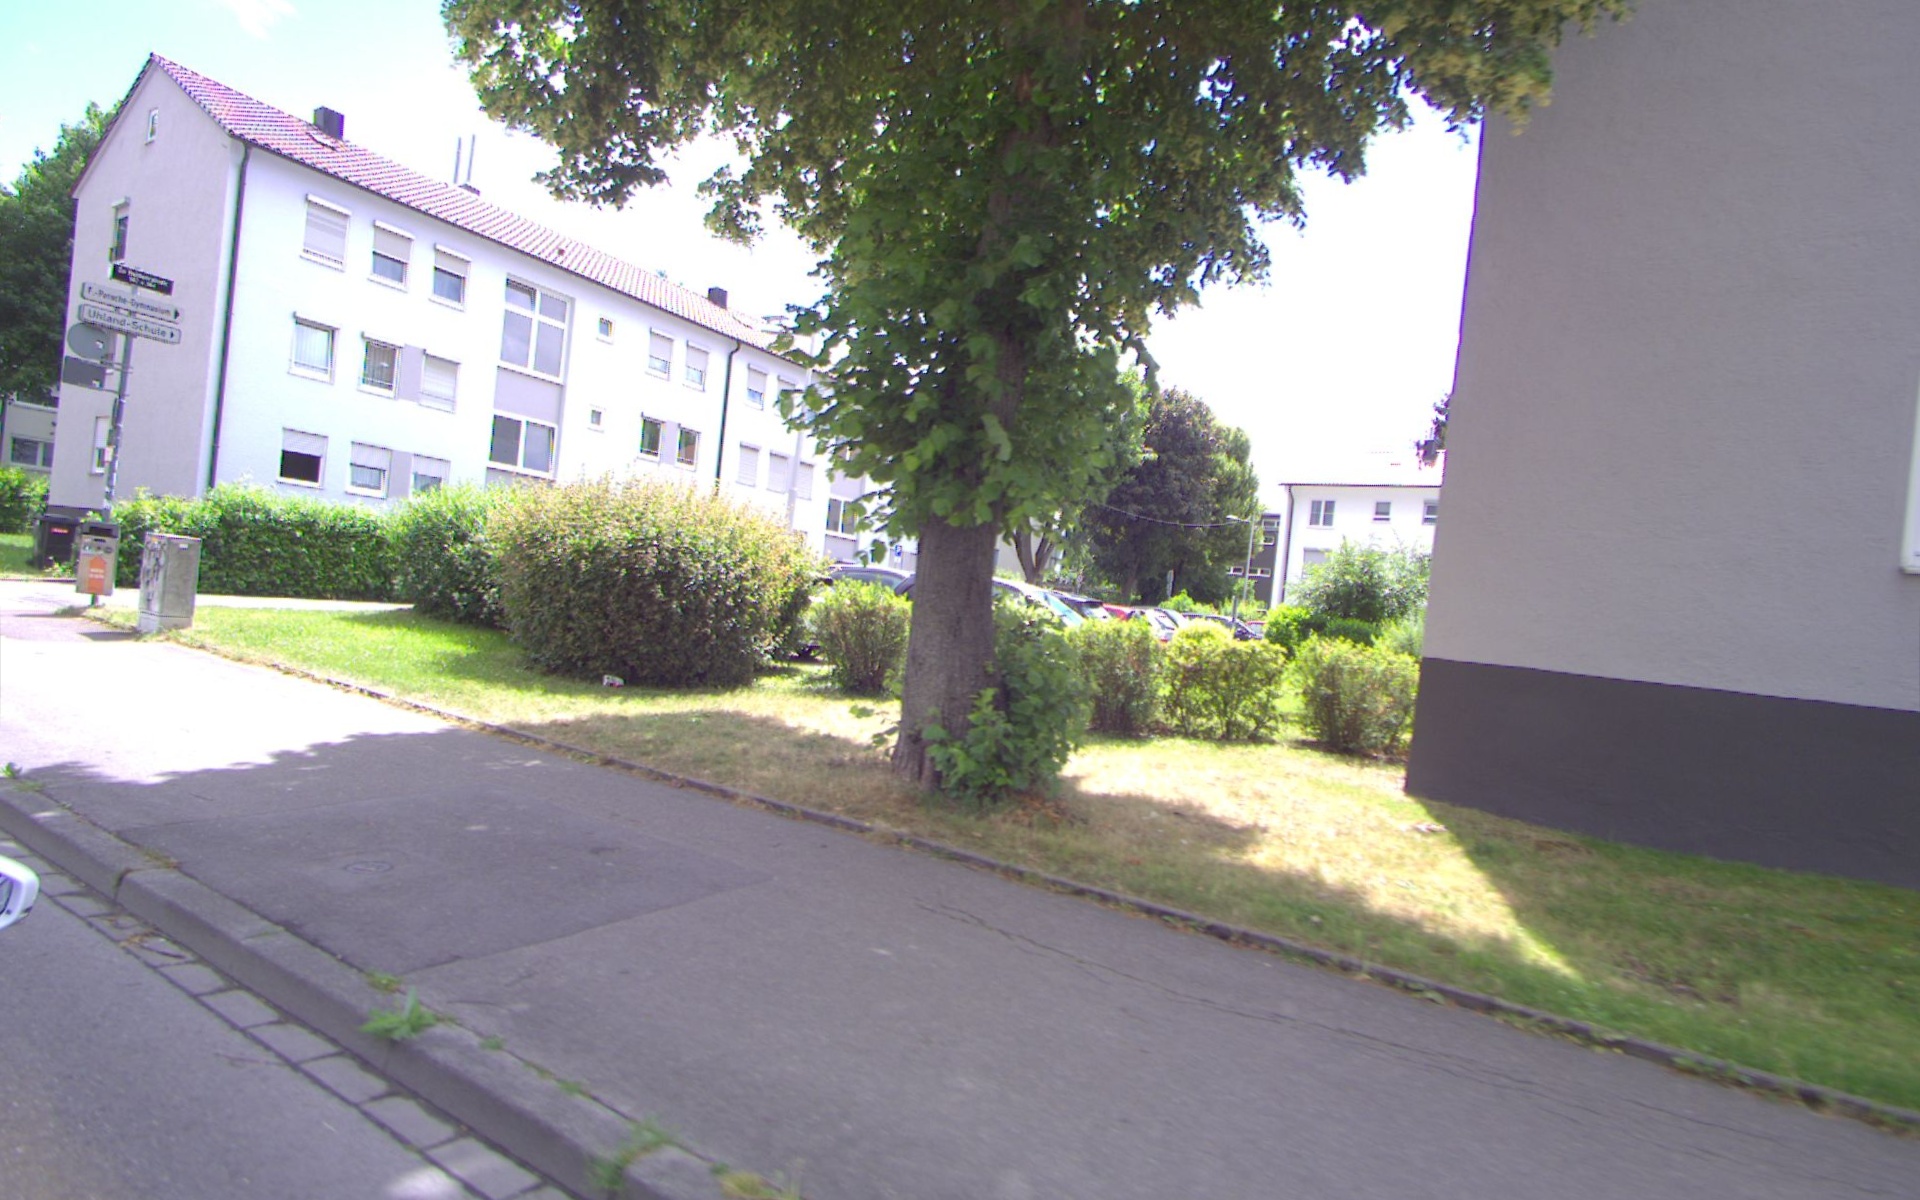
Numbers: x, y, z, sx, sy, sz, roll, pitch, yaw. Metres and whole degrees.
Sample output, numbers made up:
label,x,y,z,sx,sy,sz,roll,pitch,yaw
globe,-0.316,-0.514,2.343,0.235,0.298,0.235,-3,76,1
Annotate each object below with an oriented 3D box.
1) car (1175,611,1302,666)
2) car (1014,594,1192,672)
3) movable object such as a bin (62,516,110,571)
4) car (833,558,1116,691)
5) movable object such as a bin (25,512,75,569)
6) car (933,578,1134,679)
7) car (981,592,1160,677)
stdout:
label,x,y,z,sx,sy,sz,roll,pitch,yaw
car,10.060,1.368,36.406,4.012,1.502,1.624,6,1,32
car,3.603,0.819,25.627,4.012,1.502,1.766,6,1,32
movable object such as a bin,-16.585,-1.075,19.085,0.542,0.959,0.500,7,1,32
car,0.185,0.347,14.747,3.680,1.432,1.679,6,-2,30
movable object such as a bin,-16.845,-1.100,18.625,0.571,0.967,0.496,7,1,32
car,1.534,0.585,21.313,3.681,1.649,1.830,6,-1,32
car,2.559,0.775,23.569,3.681,1.534,1.681,6,1,32
